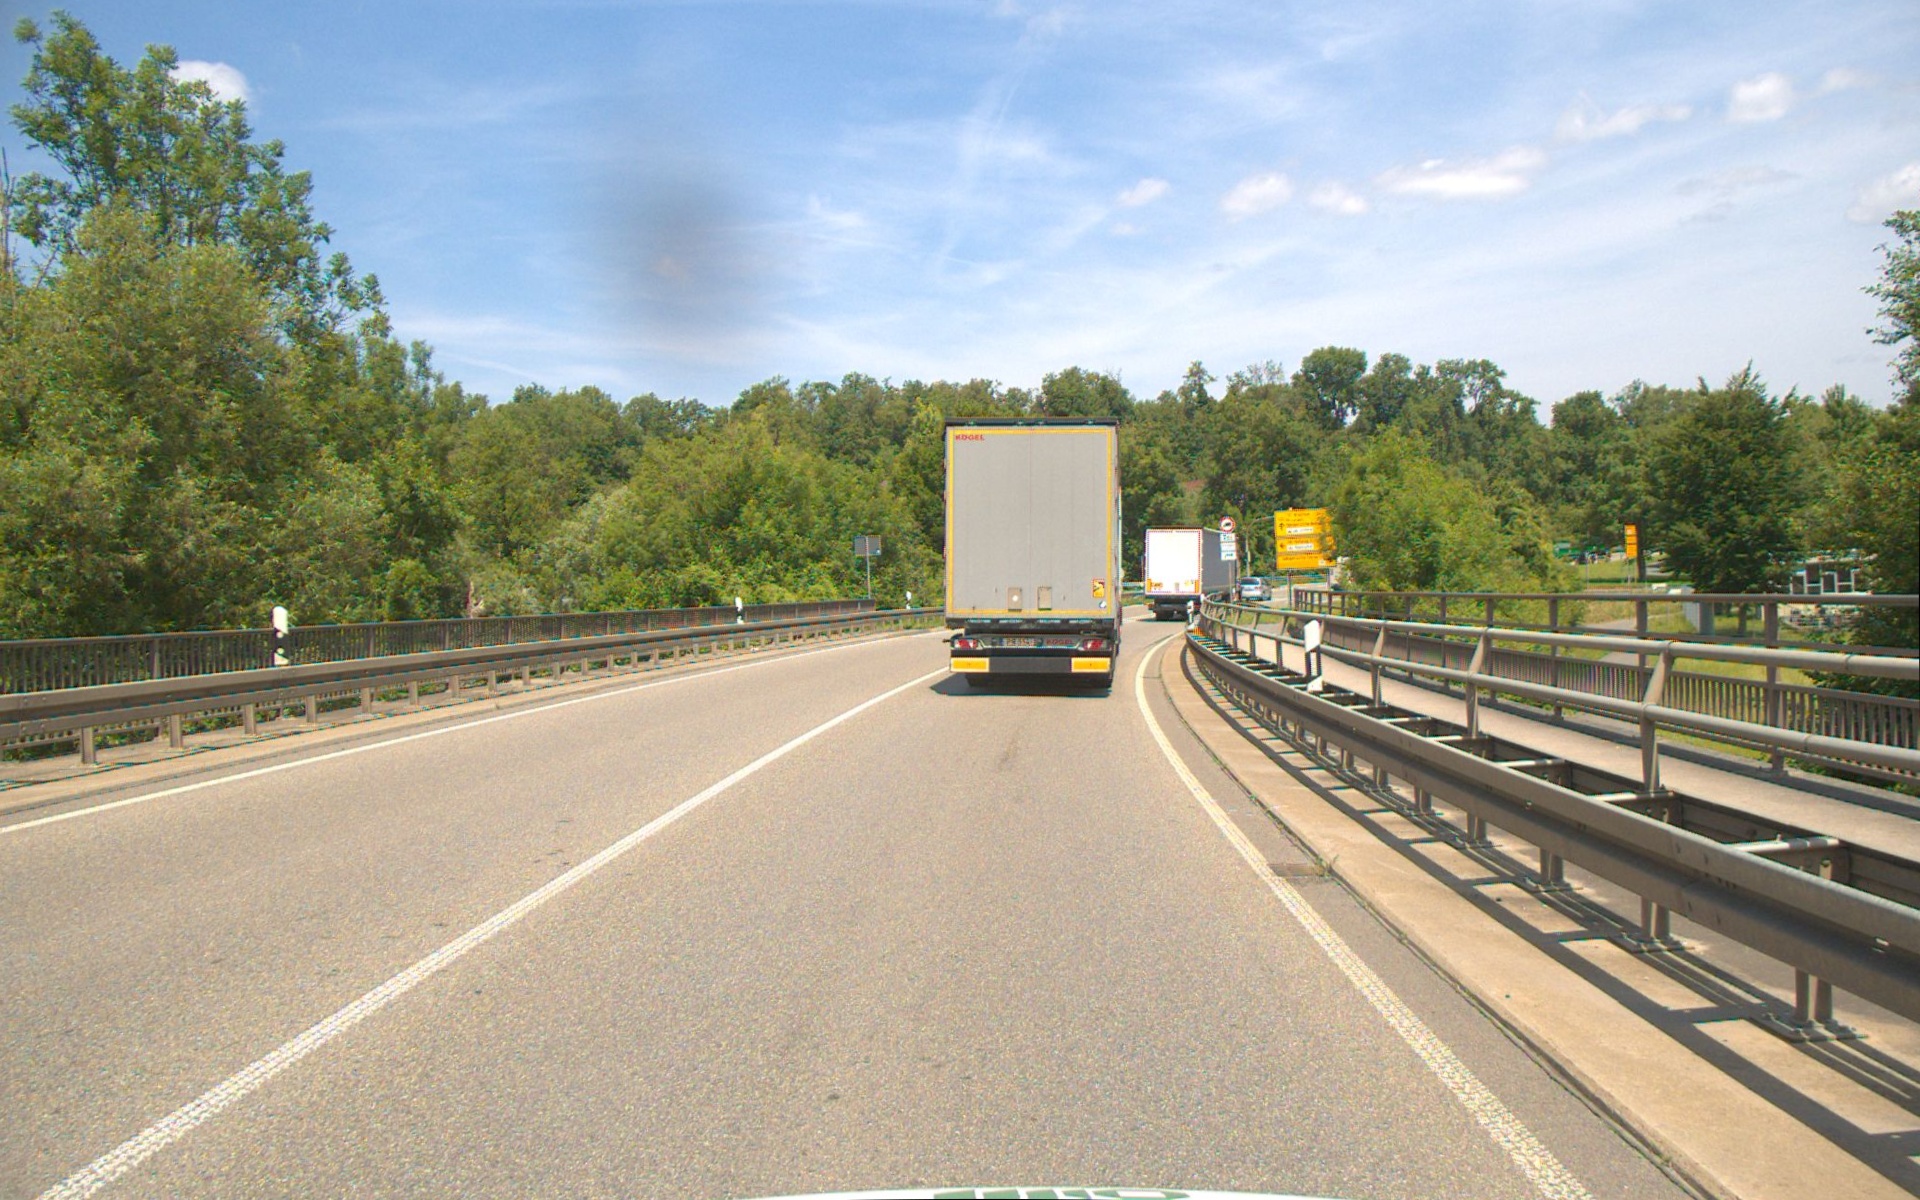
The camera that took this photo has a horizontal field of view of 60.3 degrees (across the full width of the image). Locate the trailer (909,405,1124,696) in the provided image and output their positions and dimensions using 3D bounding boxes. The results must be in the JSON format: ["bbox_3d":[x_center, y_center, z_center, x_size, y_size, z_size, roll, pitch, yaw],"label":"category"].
[{"bbox_3d":[1.410,-0.750,29.721,2.987,4.104,12.567,0,0,6],"label":"trailer"}]

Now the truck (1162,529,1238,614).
[{"bbox_3d":[12.025,-1.370,82.478,3.101,4.074,5.819,0,0,15],"label":"truck"}]

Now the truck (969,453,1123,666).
[{"bbox_3d":[1.985,-0.809,35.398,2.974,4.104,6.634,0,0,6],"label":"truck"}]

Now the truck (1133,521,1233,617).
[{"bbox_3d":[10.487,-1.344,76.712,3.111,4.099,11.754,0,0,15],"label":"truck"}]

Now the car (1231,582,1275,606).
[{"bbox_3d":[20.112,-0.397,113.540,1.954,1.545,3.996,1,0,26],"label":"car"}]

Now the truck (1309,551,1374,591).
[{"bbox_3d":[29.643,-2.262,128.393,2.804,2.999,7.088,0,1,32],"label":"truck"}]
